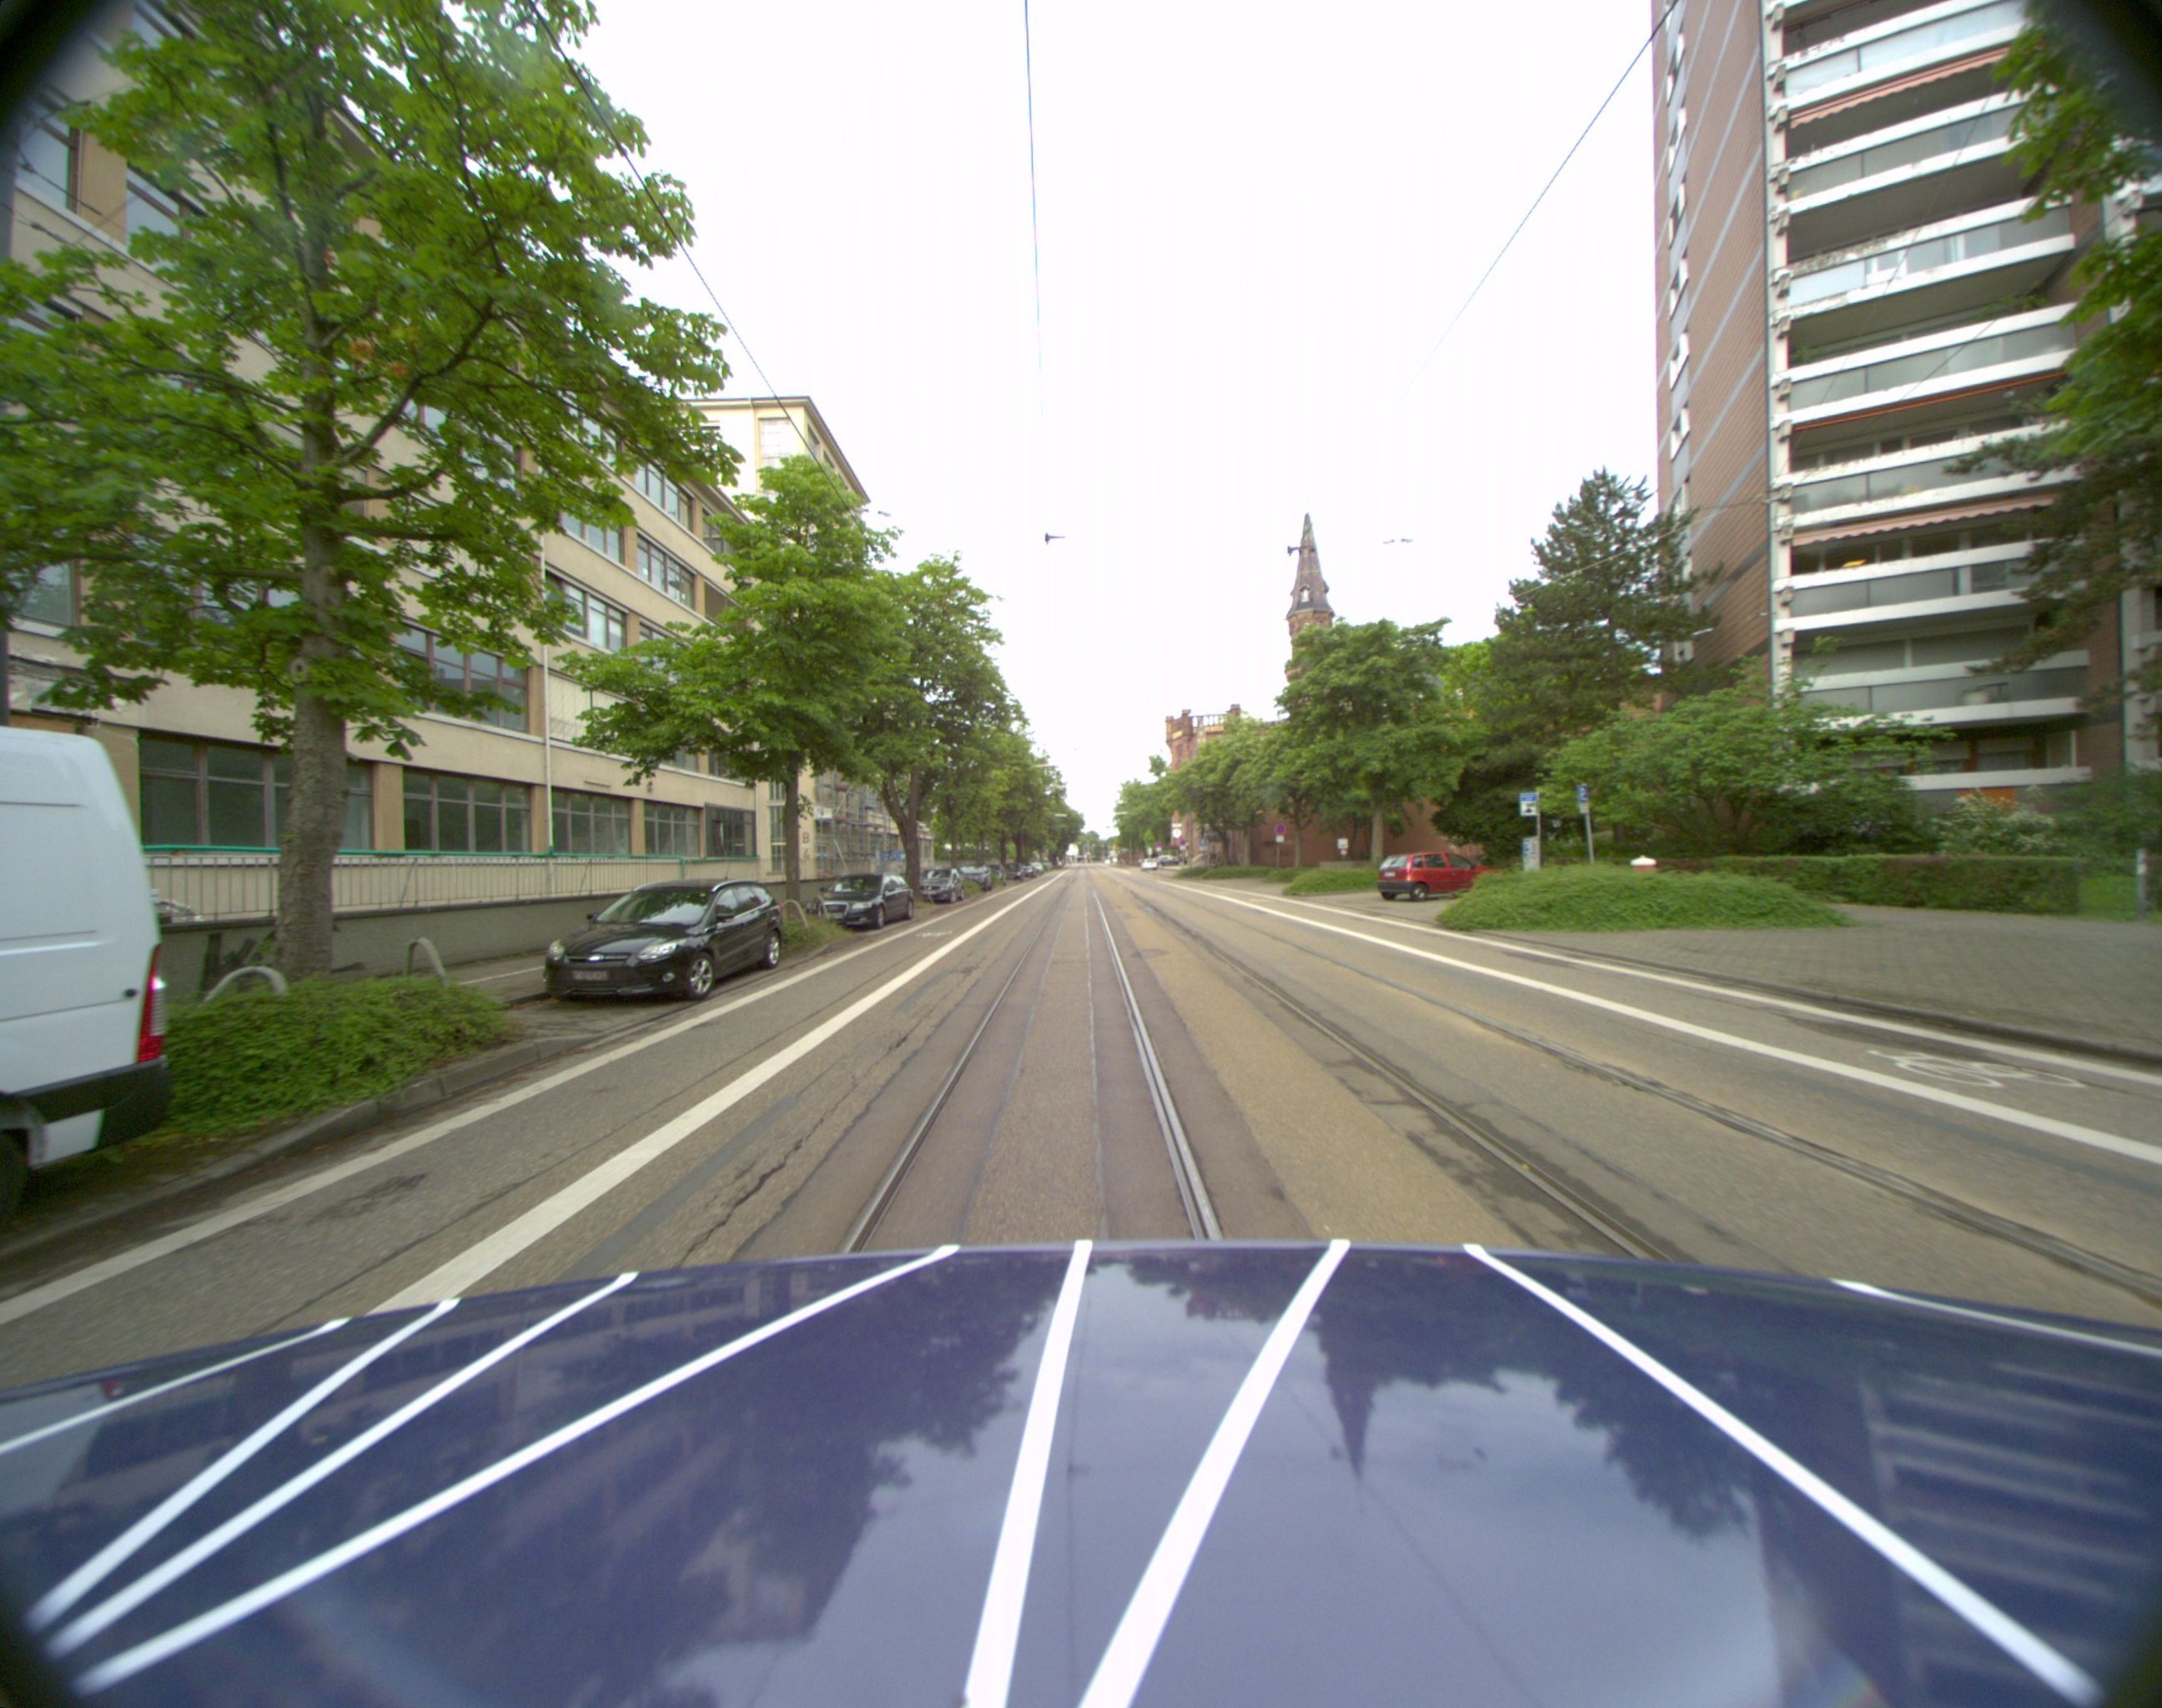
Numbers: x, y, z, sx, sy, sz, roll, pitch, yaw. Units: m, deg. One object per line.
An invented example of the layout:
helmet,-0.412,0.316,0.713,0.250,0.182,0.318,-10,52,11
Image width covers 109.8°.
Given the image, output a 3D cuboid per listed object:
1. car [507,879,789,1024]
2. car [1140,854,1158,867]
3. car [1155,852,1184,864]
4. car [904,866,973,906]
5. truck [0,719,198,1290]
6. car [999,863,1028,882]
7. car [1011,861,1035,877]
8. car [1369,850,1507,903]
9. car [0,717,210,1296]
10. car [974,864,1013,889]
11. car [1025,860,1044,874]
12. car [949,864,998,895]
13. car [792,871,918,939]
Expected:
car,-5.759,1.186,10.787,1.825,1.491,4.104,0,0,-3
car,8.660,0.841,97.017,1.998,1.521,4.000,-2,0,0
car,12.174,0.537,104.208,3.844,1.521,1.798,-2,0,4
car,-5.861,1.276,31.828,1.998,1.452,4.393,-2,0,0
truck,-5.933,0.708,1.415,2.118,2.587,5.491,-2,0,-1
car,-5.614,1.525,64.120,1.998,1.452,4.393,-2,0,0
car,-5.717,1.427,75.807,1.998,1.452,4.393,-2,0,0
car,10.712,0.645,22.871,3.504,1.369,1.632,-2,1,-13
car,-5.865,0.705,1.417,2.118,2.587,5.491,-2,0,-1
car,-5.615,1.407,49.270,1.998,1.452,4.393,-2,0,0
car,-5.458,1.545,89.670,1.998,1.452,4.393,-2,0,0
car,-5.756,1.325,41.221,1.998,1.452,4.393,-2,0,0
car,-5.855,1.271,20.302,1.998,1.452,4.393,-2,0,0
